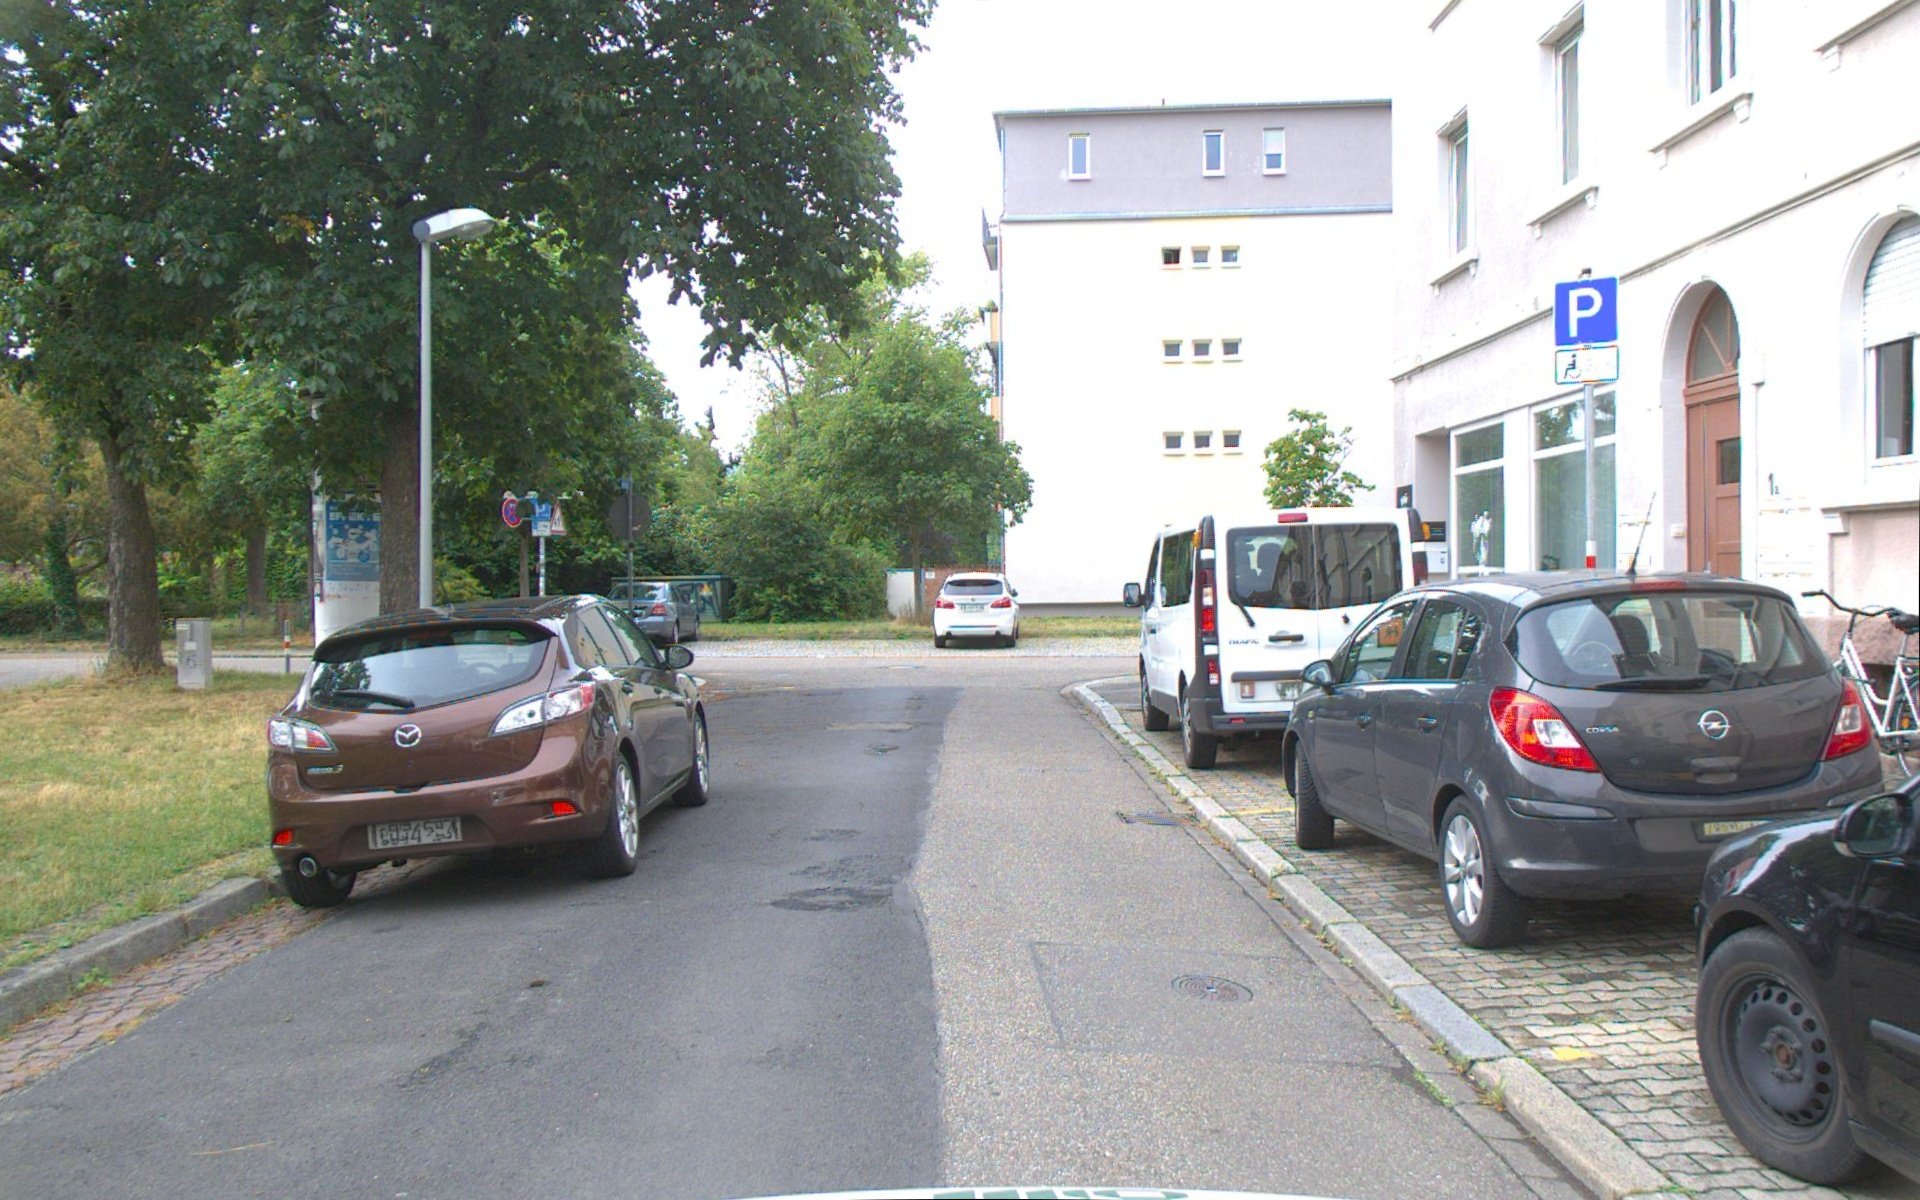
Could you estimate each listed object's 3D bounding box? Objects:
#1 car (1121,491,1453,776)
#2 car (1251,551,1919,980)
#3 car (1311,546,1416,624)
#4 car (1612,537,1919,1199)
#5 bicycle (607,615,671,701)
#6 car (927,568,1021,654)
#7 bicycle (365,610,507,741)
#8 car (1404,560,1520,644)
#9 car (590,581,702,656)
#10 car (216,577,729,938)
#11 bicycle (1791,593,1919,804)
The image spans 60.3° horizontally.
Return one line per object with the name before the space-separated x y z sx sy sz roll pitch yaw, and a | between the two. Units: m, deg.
car | 2.649 0.201 14.650 1.840 2.030 5.012 -2 1 -1
car | 2.731 0.572 8.027 1.654 1.479 3.899 -3 1 -4
car | 8.770 -0.365 36.229 1.796 1.593 4.361 0 2 8
car | 2.827 0.596 2.679 1.653 1.479 4.544 -3 1 -1
bicycle | -4.209 0.740 21.779 0.500 1.002 2.181 2 1 -3
car | 0.370 0.199 37.040 1.839 1.587 4.153 1 4 4
bicycle | -4.781 0.659 15.216 0.652 1.085 1.885 -1 1 1
car | 11.152 -0.008 36.969 1.869 1.727 4.072 0 2 8
car | -7.037 0.367 37.478 1.640 1.479 4.561 -1 2 0
car | -2.521 0.691 9.660 1.676 1.483 4.162 -5 1 -1
bicycle | 5.530 0.561 10.059 0.313 1.203 1.155 -1 0 -3
